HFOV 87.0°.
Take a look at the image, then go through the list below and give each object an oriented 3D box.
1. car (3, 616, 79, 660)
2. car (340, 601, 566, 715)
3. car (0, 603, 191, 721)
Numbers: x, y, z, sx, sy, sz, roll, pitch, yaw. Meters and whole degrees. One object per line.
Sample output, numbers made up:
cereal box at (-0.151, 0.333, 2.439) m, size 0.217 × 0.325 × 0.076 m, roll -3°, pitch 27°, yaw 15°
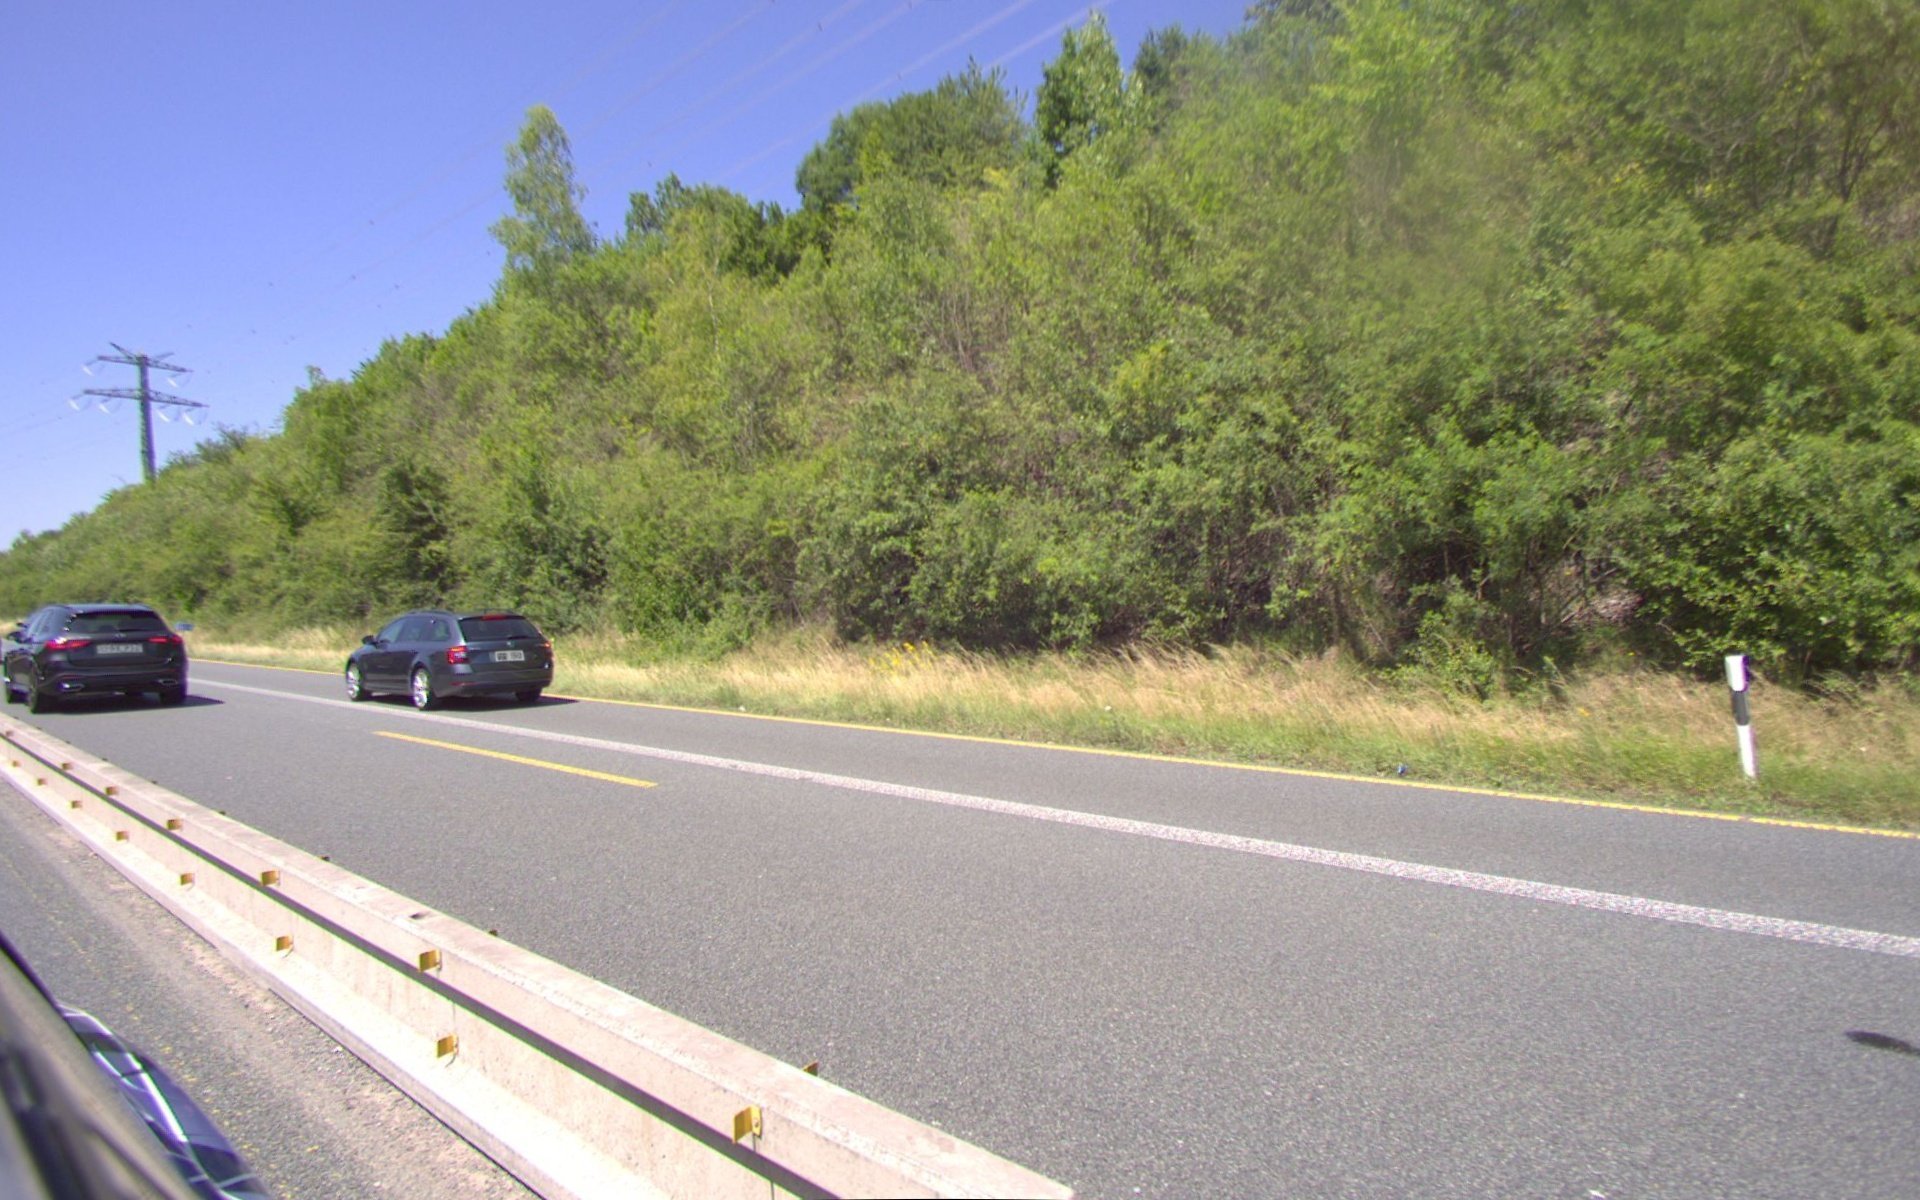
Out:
car at (-35.533, 1.427, 39.086) m, size 3.992 × 1.577 × 1.682 m, roll -1°, pitch 0°, yaw 41°
car at (-7.995, 0.824, 15.801) m, size 4.183 × 1.533 × 1.705 m, roll -1°, pitch 0°, yaw 41°
car at (-14.439, 0.934, 16.685) m, size 4.696 × 1.622 × 1.825 m, roll -1°, pitch 1°, yaw 41°
